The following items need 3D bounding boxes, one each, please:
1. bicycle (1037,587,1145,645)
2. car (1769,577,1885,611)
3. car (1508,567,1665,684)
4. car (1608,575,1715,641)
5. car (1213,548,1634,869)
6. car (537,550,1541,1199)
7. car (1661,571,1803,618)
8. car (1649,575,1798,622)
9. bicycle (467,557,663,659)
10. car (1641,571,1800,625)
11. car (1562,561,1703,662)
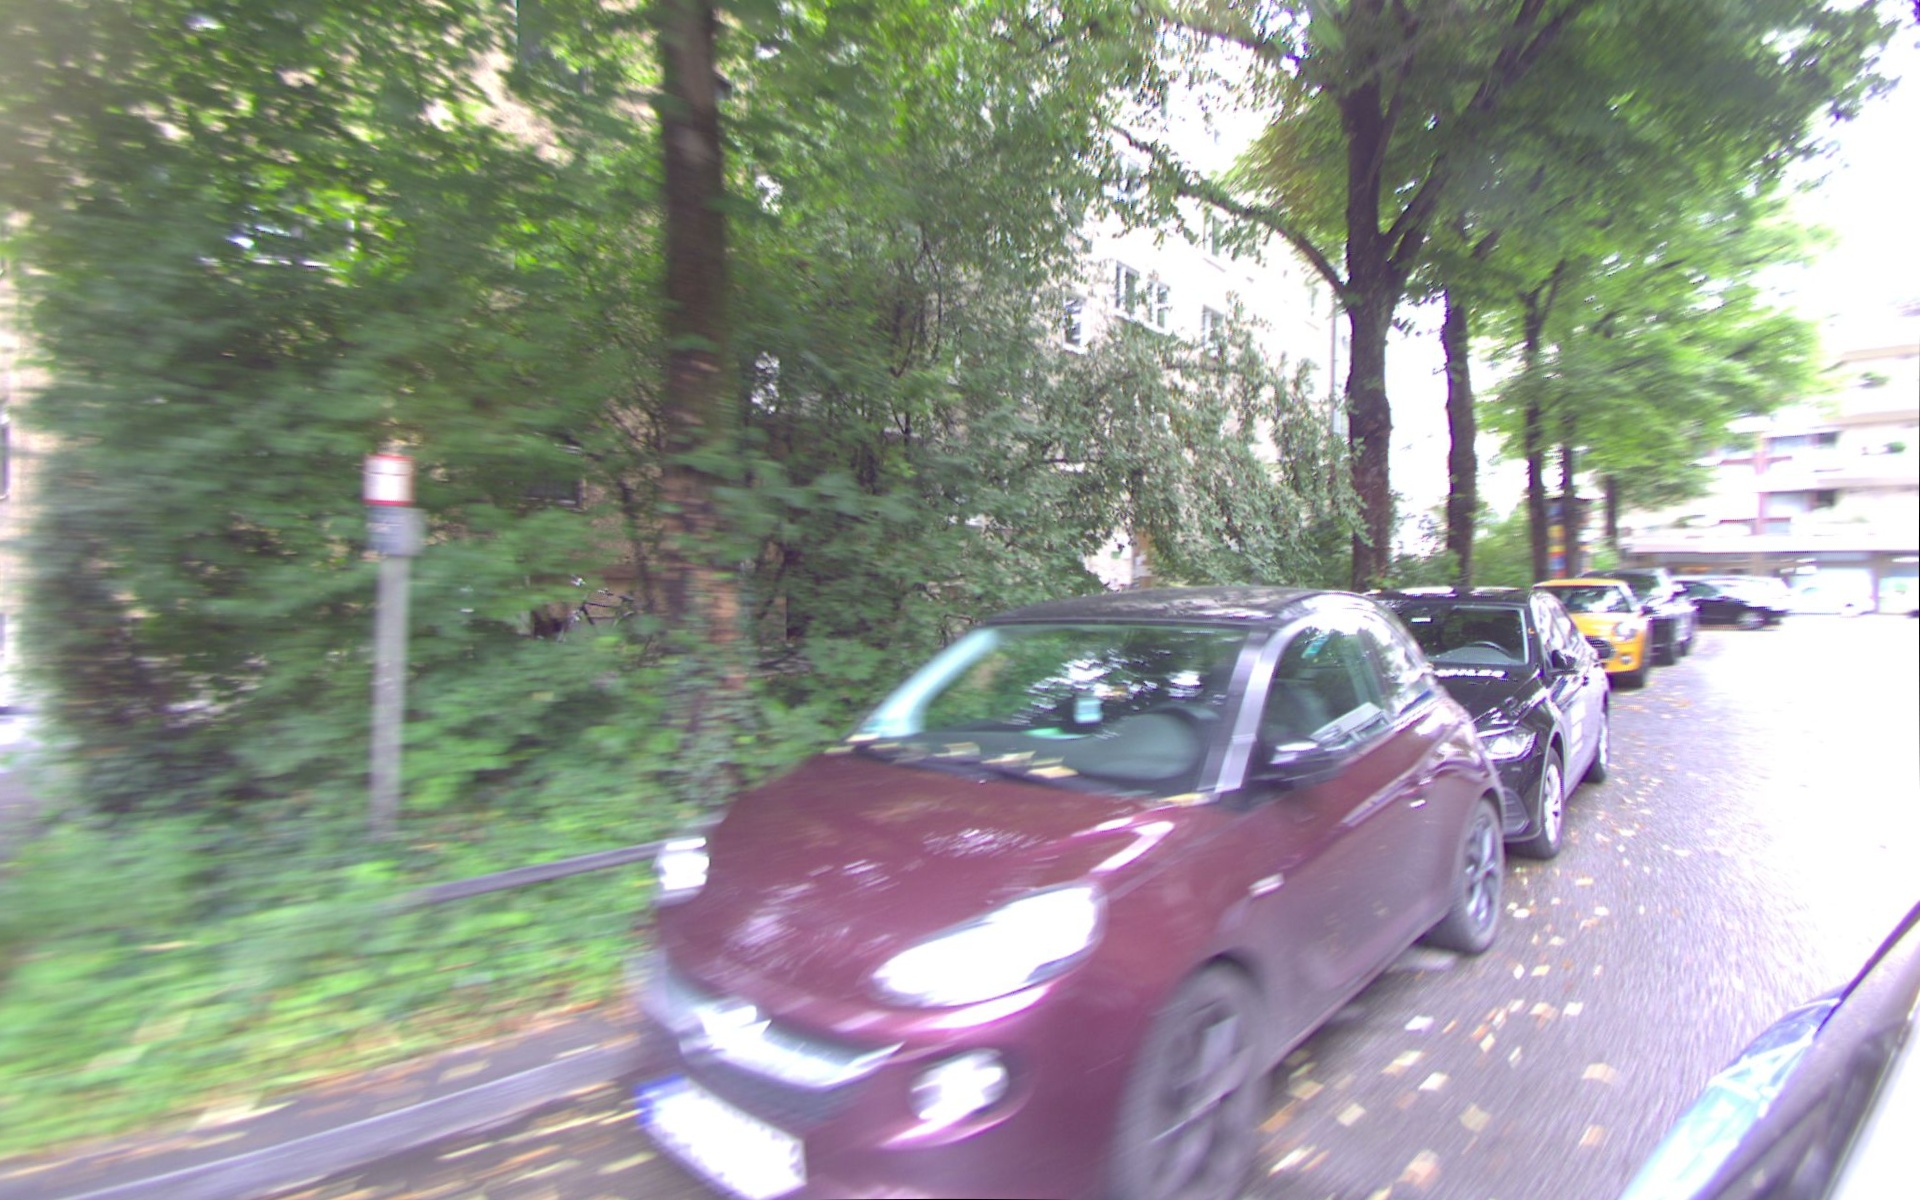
[{"bbox_3d":[2.201,0.246,17.065,1.745,0.924,0.527,1,1,31],"label":"bicycle"},{"bbox_3d":[36.689,-0.300,42.927,3.675,1.373,1.828,1,1,41],"label":"car"},{"bbox_3d":[9.096,0.270,14.566,1.687,1.456,3.729,1,1,36],"label":"car"},{"bbox_3d":[15.983,0.123,22.991,1.690,1.375,3.702,1,1,40],"label":"car"},{"bbox_3d":[3.371,0.469,6.896,1.725,1.515,3.990,1,1,38],"label":"car"},{"bbox_3d":[0.658,0.633,3.625,1.727,1.515,3.652,1,1,42],"label":"car"},{"bbox_3d":[25.551,-0.213,33.626,3.670,1.496,1.831,1,1,37],"label":"car"},{"bbox_3d":[24.017,-0.088,31.982,3.670,1.411,1.831,1,1,37],"label":"car"},{"bbox_3d":[-5.144,0.062,13.376,0.700,1.232,2.399,1,2,38],"label":"bicycle"},{"bbox_3d":[22.465,-0.106,30.053,3.670,1.496,1.831,1,1,37],"label":"car"},{"bbox_3d":[12.200,0.138,18.245,1.690,1.618,4.049,1,1,40],"label":"car"}]
